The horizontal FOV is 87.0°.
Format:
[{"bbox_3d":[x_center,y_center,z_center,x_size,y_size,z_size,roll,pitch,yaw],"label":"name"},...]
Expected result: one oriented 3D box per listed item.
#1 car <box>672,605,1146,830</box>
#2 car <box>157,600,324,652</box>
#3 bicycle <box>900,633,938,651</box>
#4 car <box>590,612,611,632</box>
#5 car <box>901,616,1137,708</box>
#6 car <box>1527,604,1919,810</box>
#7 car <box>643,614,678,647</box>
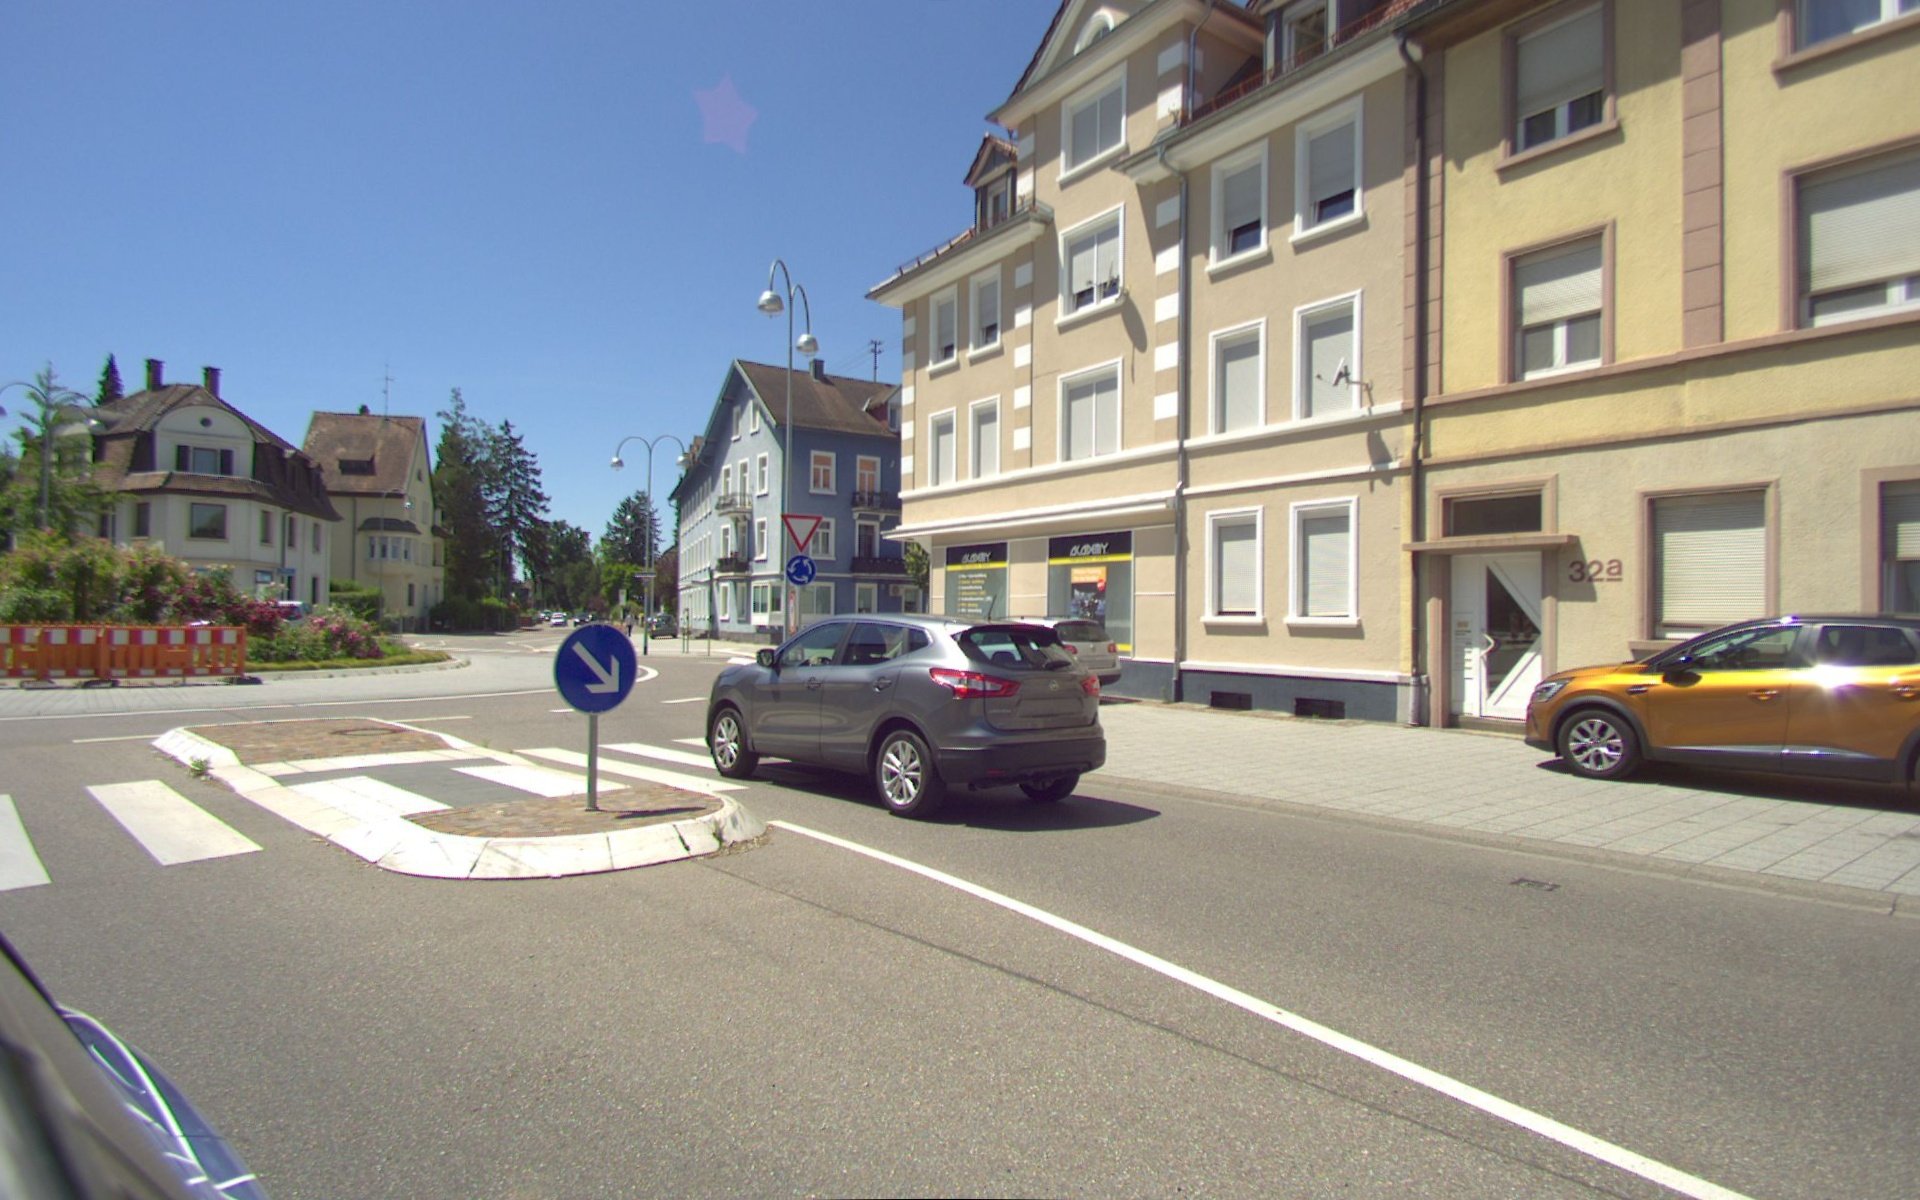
[{"bbox_3d":[-0.682,0.847,9.046,1.774,1.500,4.395,5,-3,-43],"label":"car"},{"bbox_3d":[-25.920,0.956,36.646,4.489,1.750,2.006,2,-2,-17],"label":"car"},{"bbox_3d":[-2.216,2.282,55.163,2.051,0.918,0.614,2,-2,-34],"label":"bicycle"},{"bbox_3d":[-37.315,2.312,105.050,1.965,1.861,4.013,1,1,-19],"label":"car"},{"bbox_3d":[0.943,1.077,19.123,1.770,1.514,4.958,1,-2,-35],"label":"car"},{"bbox_3d":[7.516,0.825,8.818,1.770,1.553,4.125,0,-1,-35],"label":"car"},{"bbox_3d":[-19.238,1.954,64.914,1.965,1.861,4.013,1,1,-19],"label":"car"}]
